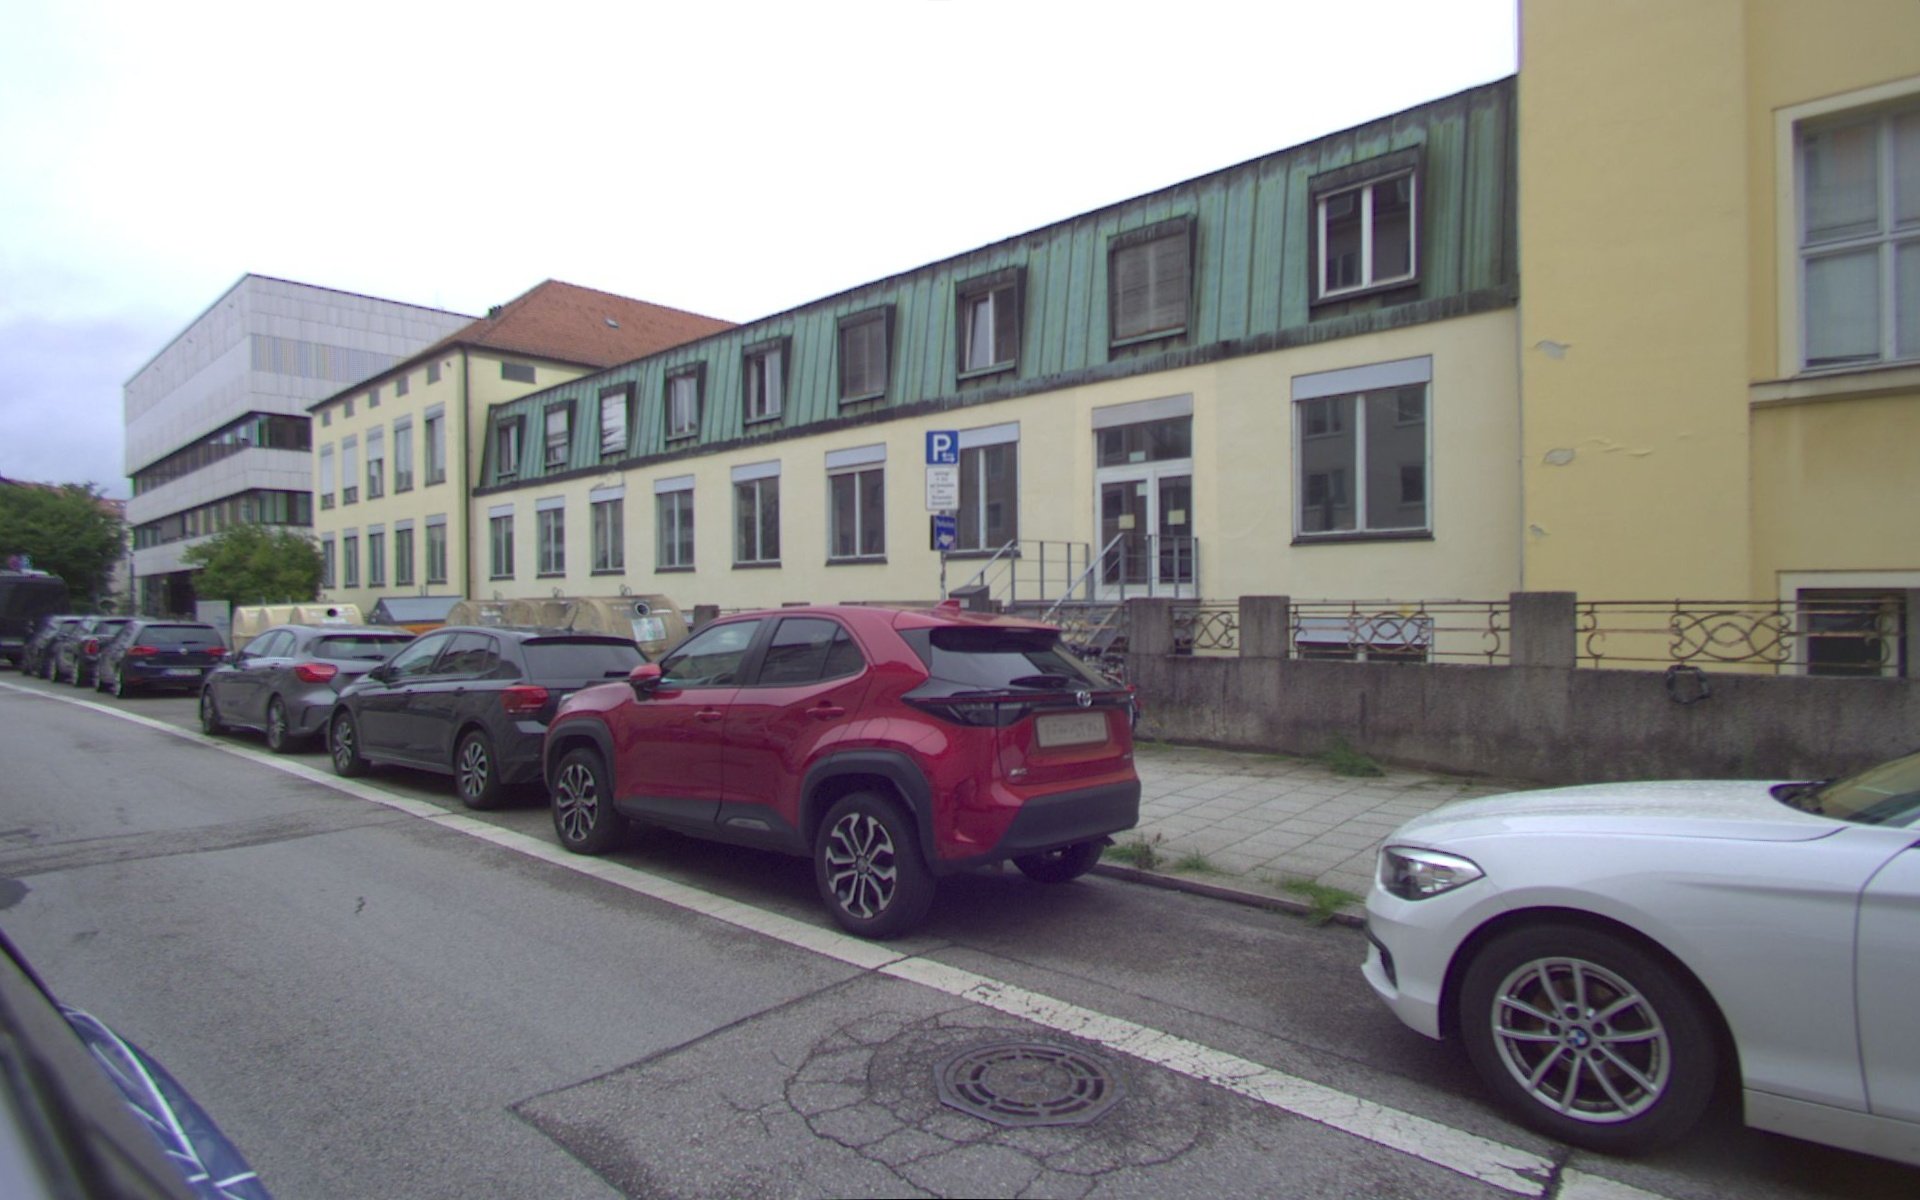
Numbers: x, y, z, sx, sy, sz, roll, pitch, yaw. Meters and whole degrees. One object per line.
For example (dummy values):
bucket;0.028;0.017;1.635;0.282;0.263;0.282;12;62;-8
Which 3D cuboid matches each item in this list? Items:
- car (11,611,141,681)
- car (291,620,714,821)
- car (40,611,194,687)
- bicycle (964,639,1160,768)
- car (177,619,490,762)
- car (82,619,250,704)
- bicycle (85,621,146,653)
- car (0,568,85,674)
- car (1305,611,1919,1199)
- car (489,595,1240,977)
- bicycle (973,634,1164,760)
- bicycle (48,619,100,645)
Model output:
car;-22.891;1.163;26.148;4.346;1.649;1.861;-1;-3;40
car;-4.326;0.919;9.260;4.350;1.416;1.732;-1;-3;39
car;-19.428;1.130;23.269;4.347;1.599;1.894;-2;-4;39
bicycle;1.005;1.012;10.440;2.106;1.156;0.529;-1;0;42
car;-7.988;1.001;12.723;4.612;1.429;1.994;0;-2;40
car;-15.856;1.164;20.116;4.531;1.493;1.892;-1;-3;43
bicycle;-32.739;1.415;39.246;1.789;1.160;0.520;-1;0;-42
car;-28.313;0.615;29.879;6.181;2.875;2.194;-1;-3;35
car;3.464;0.786;2.453;4.662;1.440;1.775;0;-3;41
car;-0.835;0.774;6.179;4.525;1.493;1.938;0;-3;40
bicycle;1.112;0.982;10.823;2.106;1.194;0.529;-1;0;42
bicycle;-41.650;1.503;47.591;0.519;1.160;1.793;-1;0;40
